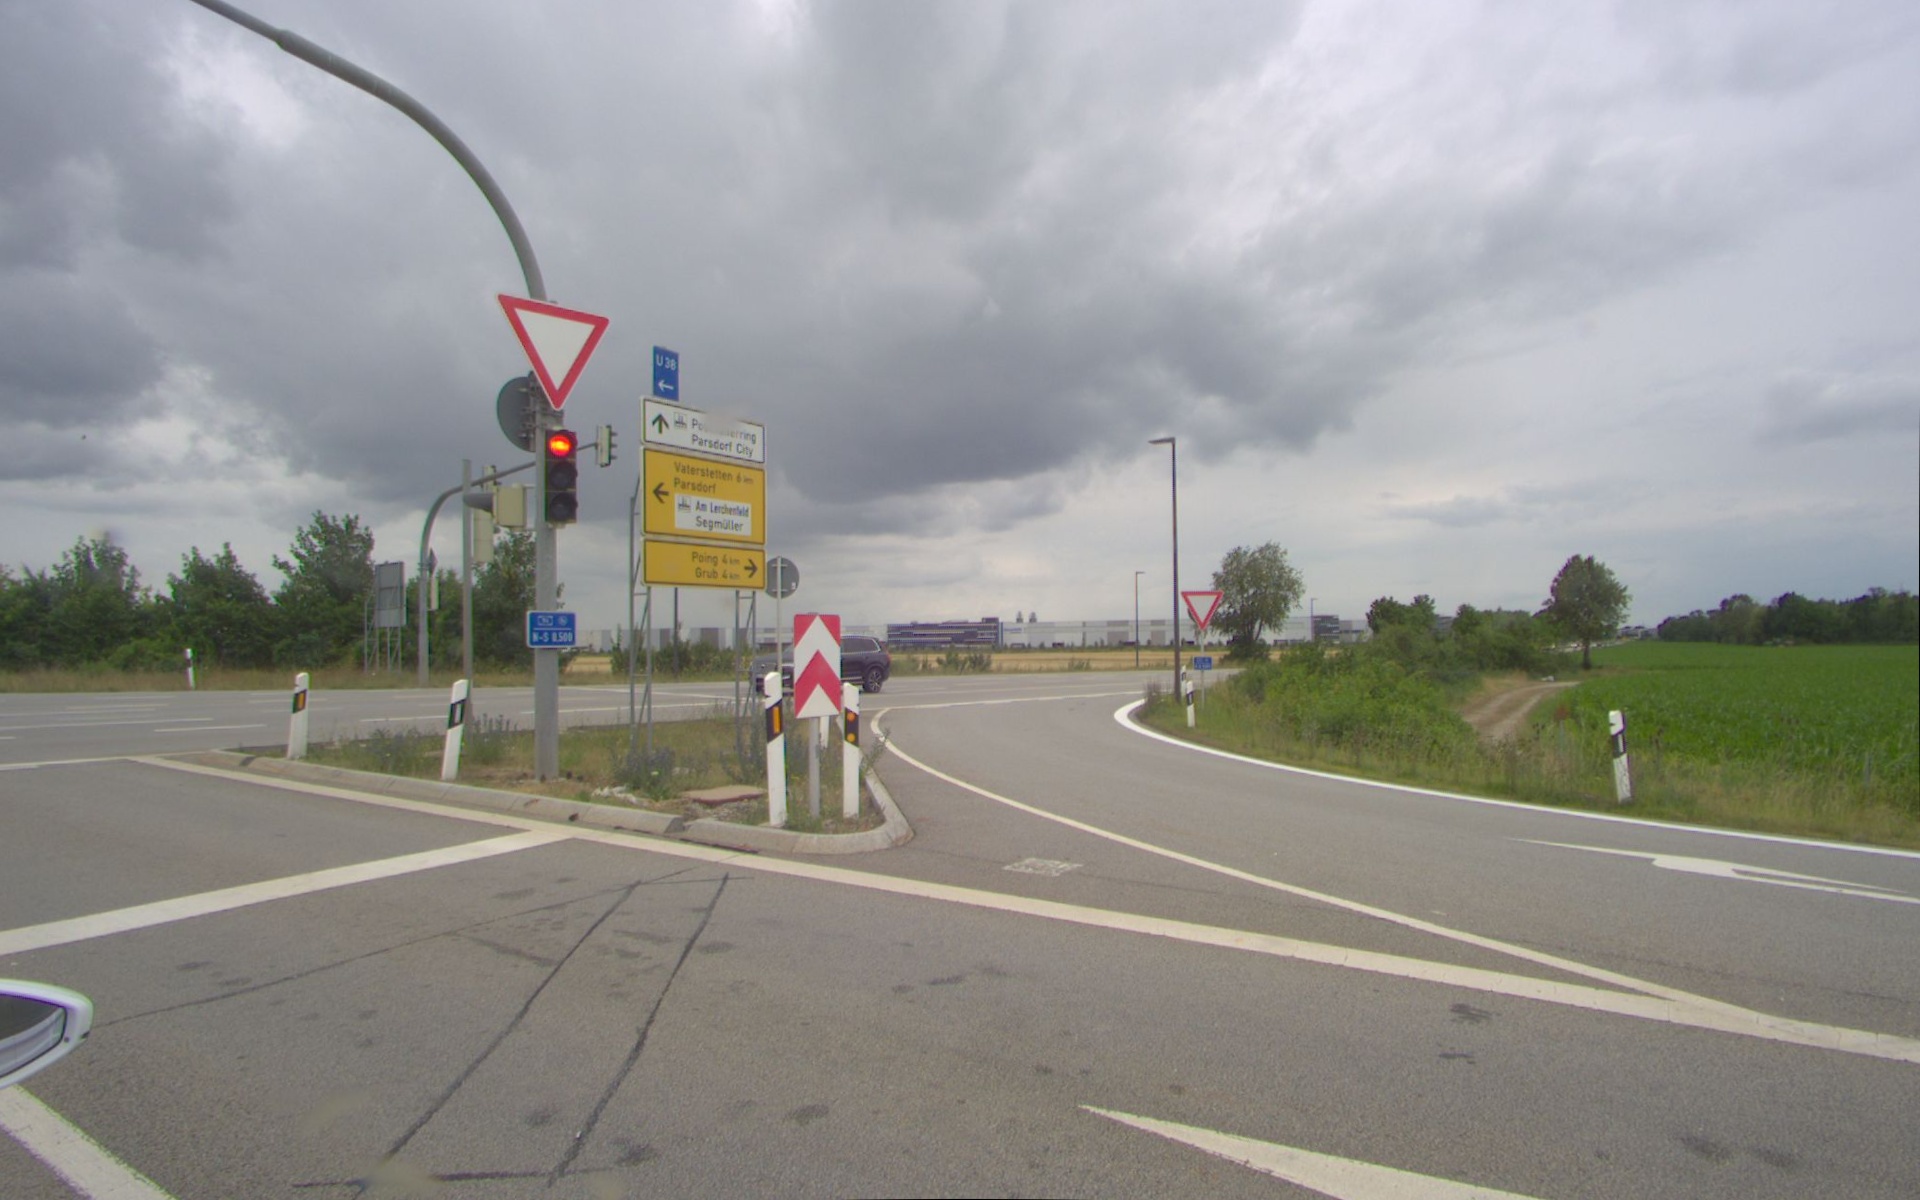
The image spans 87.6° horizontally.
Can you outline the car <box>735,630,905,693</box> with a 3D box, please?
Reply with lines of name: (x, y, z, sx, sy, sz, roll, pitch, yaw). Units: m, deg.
car: (-4.061, 1.809, 29.773, 1.977, 1.705, 4.961, -2, -3, 41)
